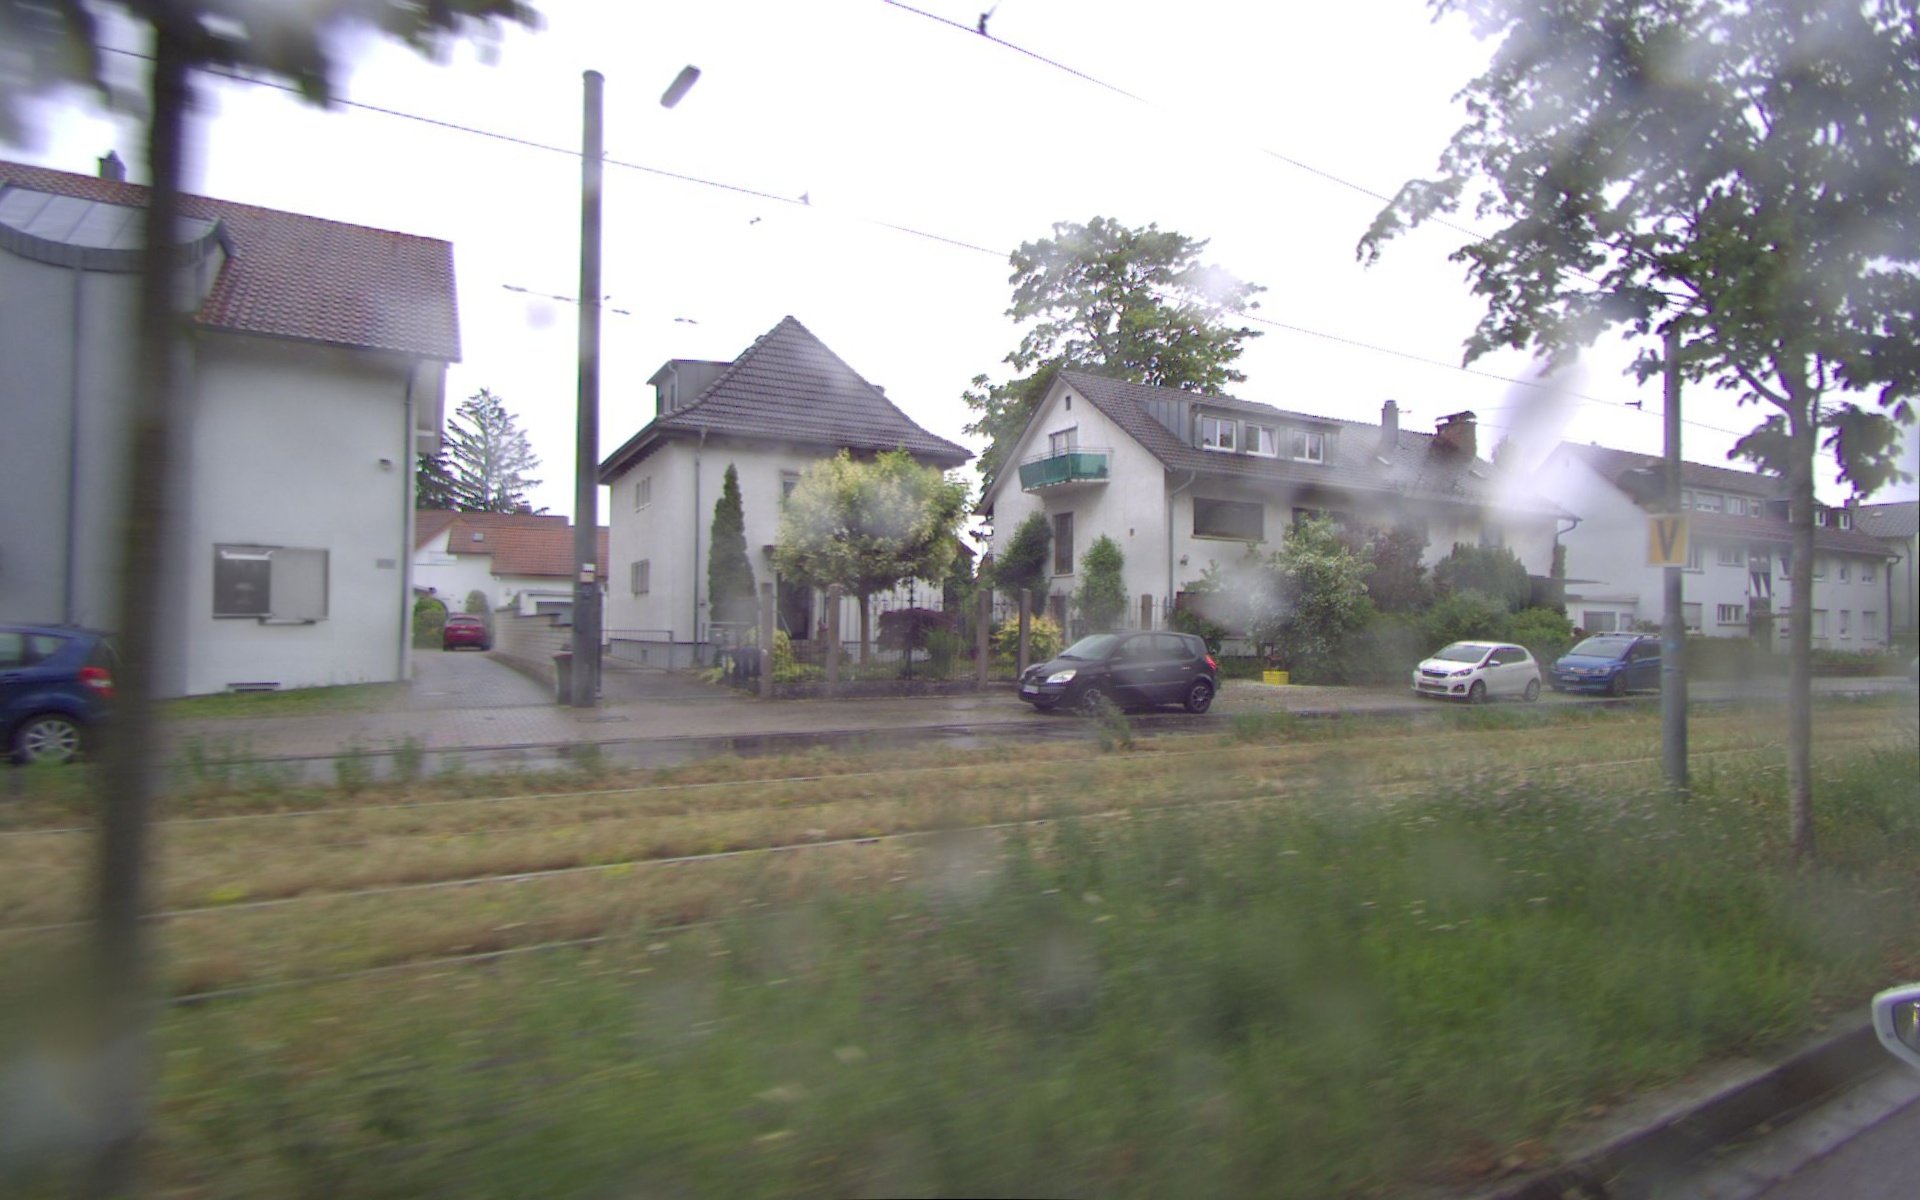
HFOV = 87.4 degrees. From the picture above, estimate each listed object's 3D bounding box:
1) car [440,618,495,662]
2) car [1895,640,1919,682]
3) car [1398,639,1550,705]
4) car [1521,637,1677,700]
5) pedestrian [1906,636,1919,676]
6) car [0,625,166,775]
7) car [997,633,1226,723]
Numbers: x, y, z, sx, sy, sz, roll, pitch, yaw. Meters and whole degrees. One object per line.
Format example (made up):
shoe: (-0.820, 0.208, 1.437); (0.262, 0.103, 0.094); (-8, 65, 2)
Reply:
car: (-23.526, 1.915, 48.111); (1.970, 2.040, 3.981); (1, -2, -21)
car: (39.528, 2.435, 40.071); (4.462, 1.602, 1.985); (1, 0, -29)
car: (13.168, 1.794, 25.717); (3.553, 1.508, 1.788); (1, 0, -29)
car: (18.516, 1.925, 29.078); (4.359, 1.635, 1.985); (1, 0, -29)
pedestrian: (43.119, 2.508, 45.062); (0.844, 1.778, 0.699); (1, -2, -28)
car: (-11.541, 1.094, 11.313); (3.825, 1.571, 1.864); (1, 0, -31)
car: (3.016, 1.462, 19.916); (4.154, 1.536, 1.985); (1, 0, -29)
